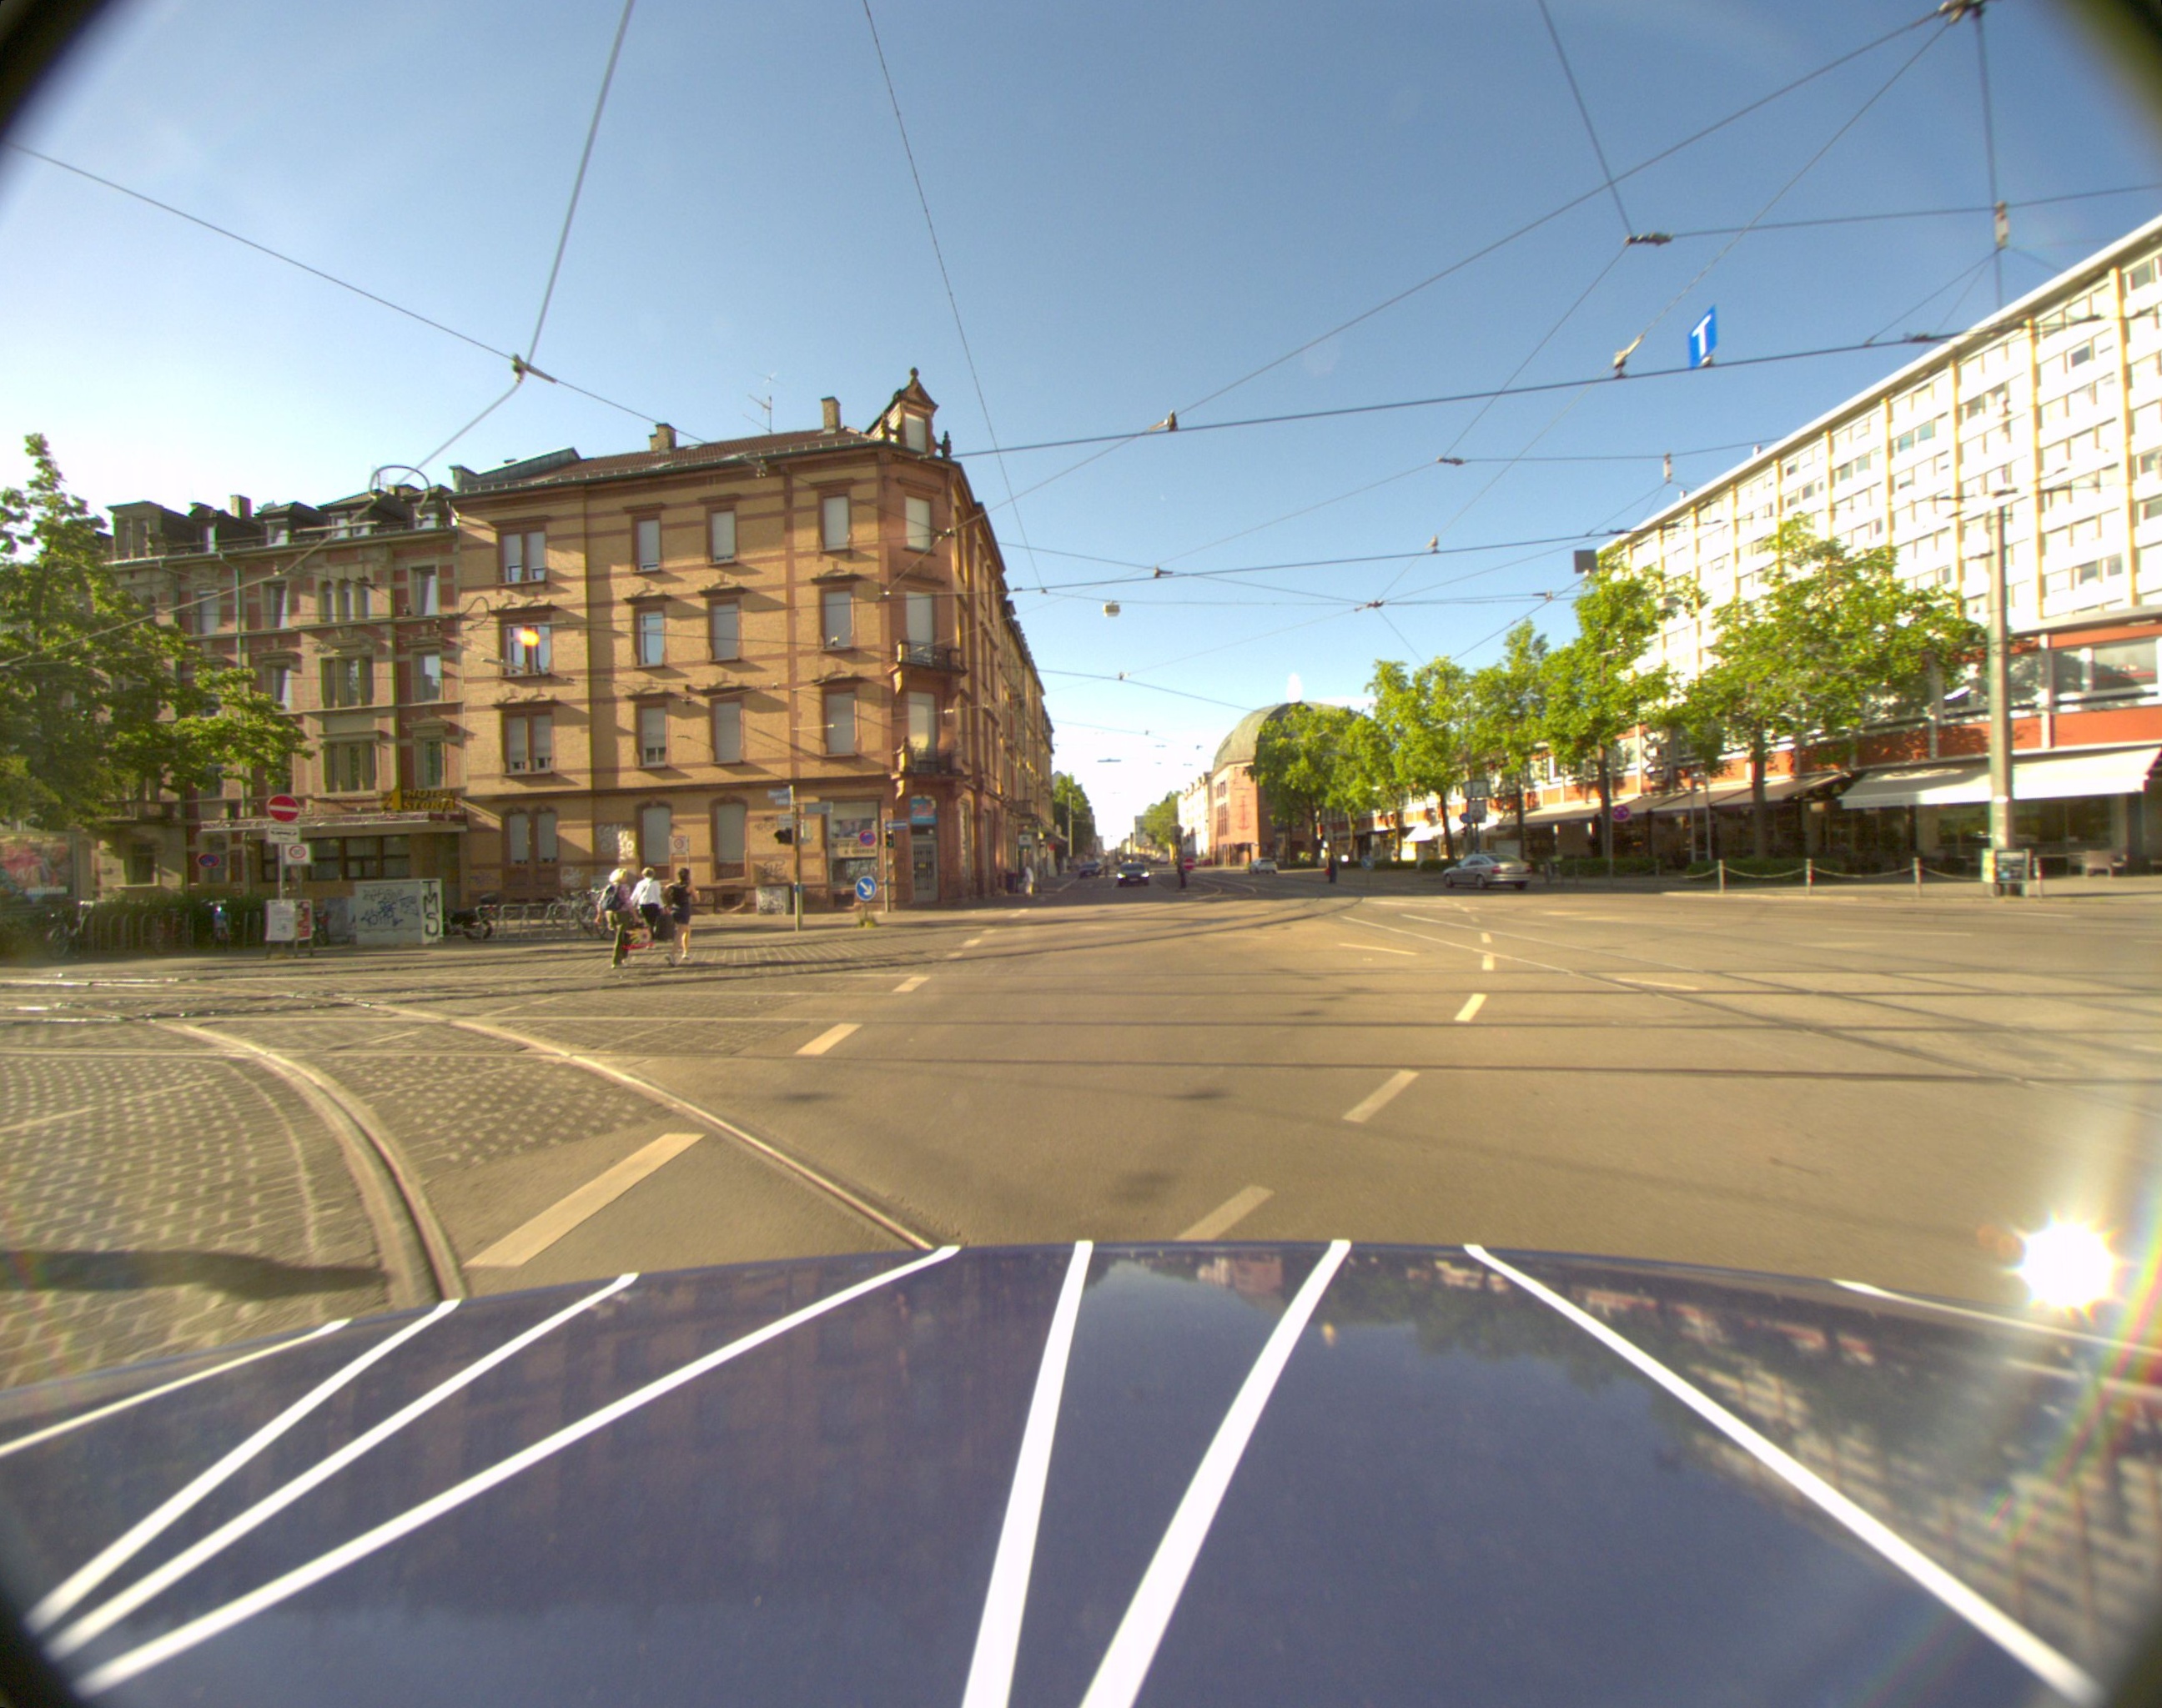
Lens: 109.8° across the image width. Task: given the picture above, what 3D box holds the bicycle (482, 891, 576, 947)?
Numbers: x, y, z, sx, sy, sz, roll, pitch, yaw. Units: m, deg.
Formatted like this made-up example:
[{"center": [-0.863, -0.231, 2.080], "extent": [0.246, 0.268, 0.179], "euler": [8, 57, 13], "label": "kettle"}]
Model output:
[{"center": [-13.861, 1.593, 19.192], "extent": [0.650, 1.202, 2.311], "euler": [-1, 0, 0], "label": "bicycle"}]

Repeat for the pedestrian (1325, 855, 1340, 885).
[{"center": [13.027, 0.800, 39.418], "extent": [0.501, 1.509, 0.859], "euler": [1, 2, 2], "label": "pedestrian"}]

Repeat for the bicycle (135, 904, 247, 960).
[{"center": [-21.572, 1.854, 18.483], "extent": [0.651, 1.122, 2.037], "euler": [-1, 0, -12], "label": "bicycle"}]

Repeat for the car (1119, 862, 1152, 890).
[{"center": [3.331, 1.320, 47.044], "extent": [1.815, 1.416, 4.153], "euler": [-3, 2, 2], "label": "car"}]

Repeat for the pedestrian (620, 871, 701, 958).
[{"center": [-8.505, 1.199, 15.410], "extent": [0.923, 1.623, 1.010], "euler": [0, 3, 17], "label": "pedestrian"}]

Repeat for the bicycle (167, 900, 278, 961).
[{"center": [-20.701, 1.806, 18.390], "extent": [0.651, 1.203, 2.037], "euler": [-1, 2, -12], "label": "bicycle"}]

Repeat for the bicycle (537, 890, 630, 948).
[{"center": [-12.332, 1.585, 18.953], "extent": [0.753, 1.203, 2.311], "euler": [-1, 1, 0], "label": "bicycle"}]

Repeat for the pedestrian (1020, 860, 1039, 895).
[{"center": [-2.454, 1.119, 36.210], "extent": [0.683, 1.598, 0.730], "euler": [-2, 2, -18], "label": "pedestrian"}]

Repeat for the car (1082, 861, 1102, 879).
[{"center": [1.060, 1.491, 72.348], "extent": [1.694, 1.442, 4.359], "euler": [-3, 1, 2], "label": "car"}]

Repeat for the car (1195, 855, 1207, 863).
[{"center": [23.290, 0.911, 147.216], "extent": [1.855, 1.446, 3.853], "euler": [-2, 1, 3], "label": "car"}]

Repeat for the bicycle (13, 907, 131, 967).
[{"center": [-22.889, 1.848, 17.296], "extent": [0.651, 1.122, 2.036], "euler": [-1, 1, -23], "label": "bicycle"}]

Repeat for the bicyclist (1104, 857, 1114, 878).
[{"center": [2.560, 1.222, 69.380], "extent": [0.895, 1.756, 1.030], "euler": [-3, 3, 3], "label": "bicyclist"}]

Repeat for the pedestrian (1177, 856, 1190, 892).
[{"center": [5.107, 0.983, 37.940], "extent": [0.559, 1.754, 0.895], "euler": [1, 2, 2], "label": "pedestrian"}]

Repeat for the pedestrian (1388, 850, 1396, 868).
[{"center": [29.986, 0.475, 73.301], "extent": [0.573, 1.762, 0.706], "euler": [-1, 2, 4], "label": "pedestrian"}]

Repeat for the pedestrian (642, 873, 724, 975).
[{"center": [-6.533, 1.114, 12.502], "extent": [0.633, 1.529, 0.943], "euler": [1, 4, 34], "label": "pedestrian"}]

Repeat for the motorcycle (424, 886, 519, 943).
[{"center": [-16.492, 1.609, 20.619], "extent": [1.948, 1.396, 0.864], "euler": [0, 0, -34], "label": "motorcycle"}]

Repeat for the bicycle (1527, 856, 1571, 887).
[{"center": [19.749, 0.719, 32.102], "extent": [0.498, 1.180, 2.235], "euler": [-1, 1, 1], "label": "bicycle"}]

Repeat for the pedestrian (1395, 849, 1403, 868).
[{"center": [30.682, 0.426, 73.281], "extent": [0.573, 1.740, 0.706], "euler": [-1, 2, 4], "label": "pedestrian"}]

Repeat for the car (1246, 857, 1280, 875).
[{"center": [16.310, 1.033, 68.321], "extent": [1.998, 1.443, 4.501], "euler": [-1, 1, 1], "label": "car"}]

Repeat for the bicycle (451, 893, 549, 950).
[{"center": [-14.580, 1.669, 19.174], "extent": [0.650, 1.202, 2.311], "euler": [-1, 0, 0], "label": "bicycle"}]

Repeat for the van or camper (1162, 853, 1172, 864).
[{"center": [21.862, 1.079, 193.111], "extent": [2.041, 2.723, 7.019], "euler": [0, 2, 2], "label": "van or camper"}]

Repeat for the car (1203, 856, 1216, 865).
[{"center": [23.275, 1.236, 137.285], "extent": [1.753, 1.446, 3.470], "euler": [-2, 1, 1], "label": "car"}]

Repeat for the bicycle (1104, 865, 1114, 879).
[{"center": [2.585, 1.650, 69.419], "extent": [0.889, 1.155, 2.078], "euler": [-3, 3, 3], "label": "bicycle"}]

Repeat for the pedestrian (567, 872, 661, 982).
[{"center": [-7.613, 1.146, 12.404], "extent": [0.922, 1.623, 0.943], "euler": [1, 4, 34], "label": "pedestrian"}]

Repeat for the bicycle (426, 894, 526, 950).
[{"center": [-15.289, 1.680, 19.305], "extent": [0.650, 1.202, 2.311], "euler": [-1, 0, 0], "label": "bicycle"}]

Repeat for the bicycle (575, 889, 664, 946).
[{"center": [-11.433, 1.546, 18.932], "extent": [0.753, 1.202, 2.311], "euler": [-1, 0, 0], "label": "bicycle"}]

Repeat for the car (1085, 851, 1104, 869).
[{"center": [1.490, 0.675, 84.374], "extent": [1.694, 1.704, 4.615], "euler": [-3, 2, 5], "label": "car"}]

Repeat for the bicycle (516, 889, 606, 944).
[{"center": [-13.112, 1.543, 19.252], "extent": [0.650, 1.202, 2.311], "euler": [-1, 0, 0], "label": "bicycle"}]

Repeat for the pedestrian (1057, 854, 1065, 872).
[{"center": [-2.137, 0.993, 82.556], "extent": [0.685, 1.901, 1.063], "euler": [-3, 3, 5], "label": "pedestrian"}]

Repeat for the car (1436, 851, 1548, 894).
[{"center": [16.170, 0.672, 30.234], "extent": [1.998, 1.443, 4.649], "euler": [-1, 1, 1], "label": "car"}]

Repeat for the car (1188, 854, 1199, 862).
[{"center": [24.255, 0.798, 163.566], "extent": [1.855, 1.446, 3.853], "euler": [-2, 1, 3], "label": "car"}]
